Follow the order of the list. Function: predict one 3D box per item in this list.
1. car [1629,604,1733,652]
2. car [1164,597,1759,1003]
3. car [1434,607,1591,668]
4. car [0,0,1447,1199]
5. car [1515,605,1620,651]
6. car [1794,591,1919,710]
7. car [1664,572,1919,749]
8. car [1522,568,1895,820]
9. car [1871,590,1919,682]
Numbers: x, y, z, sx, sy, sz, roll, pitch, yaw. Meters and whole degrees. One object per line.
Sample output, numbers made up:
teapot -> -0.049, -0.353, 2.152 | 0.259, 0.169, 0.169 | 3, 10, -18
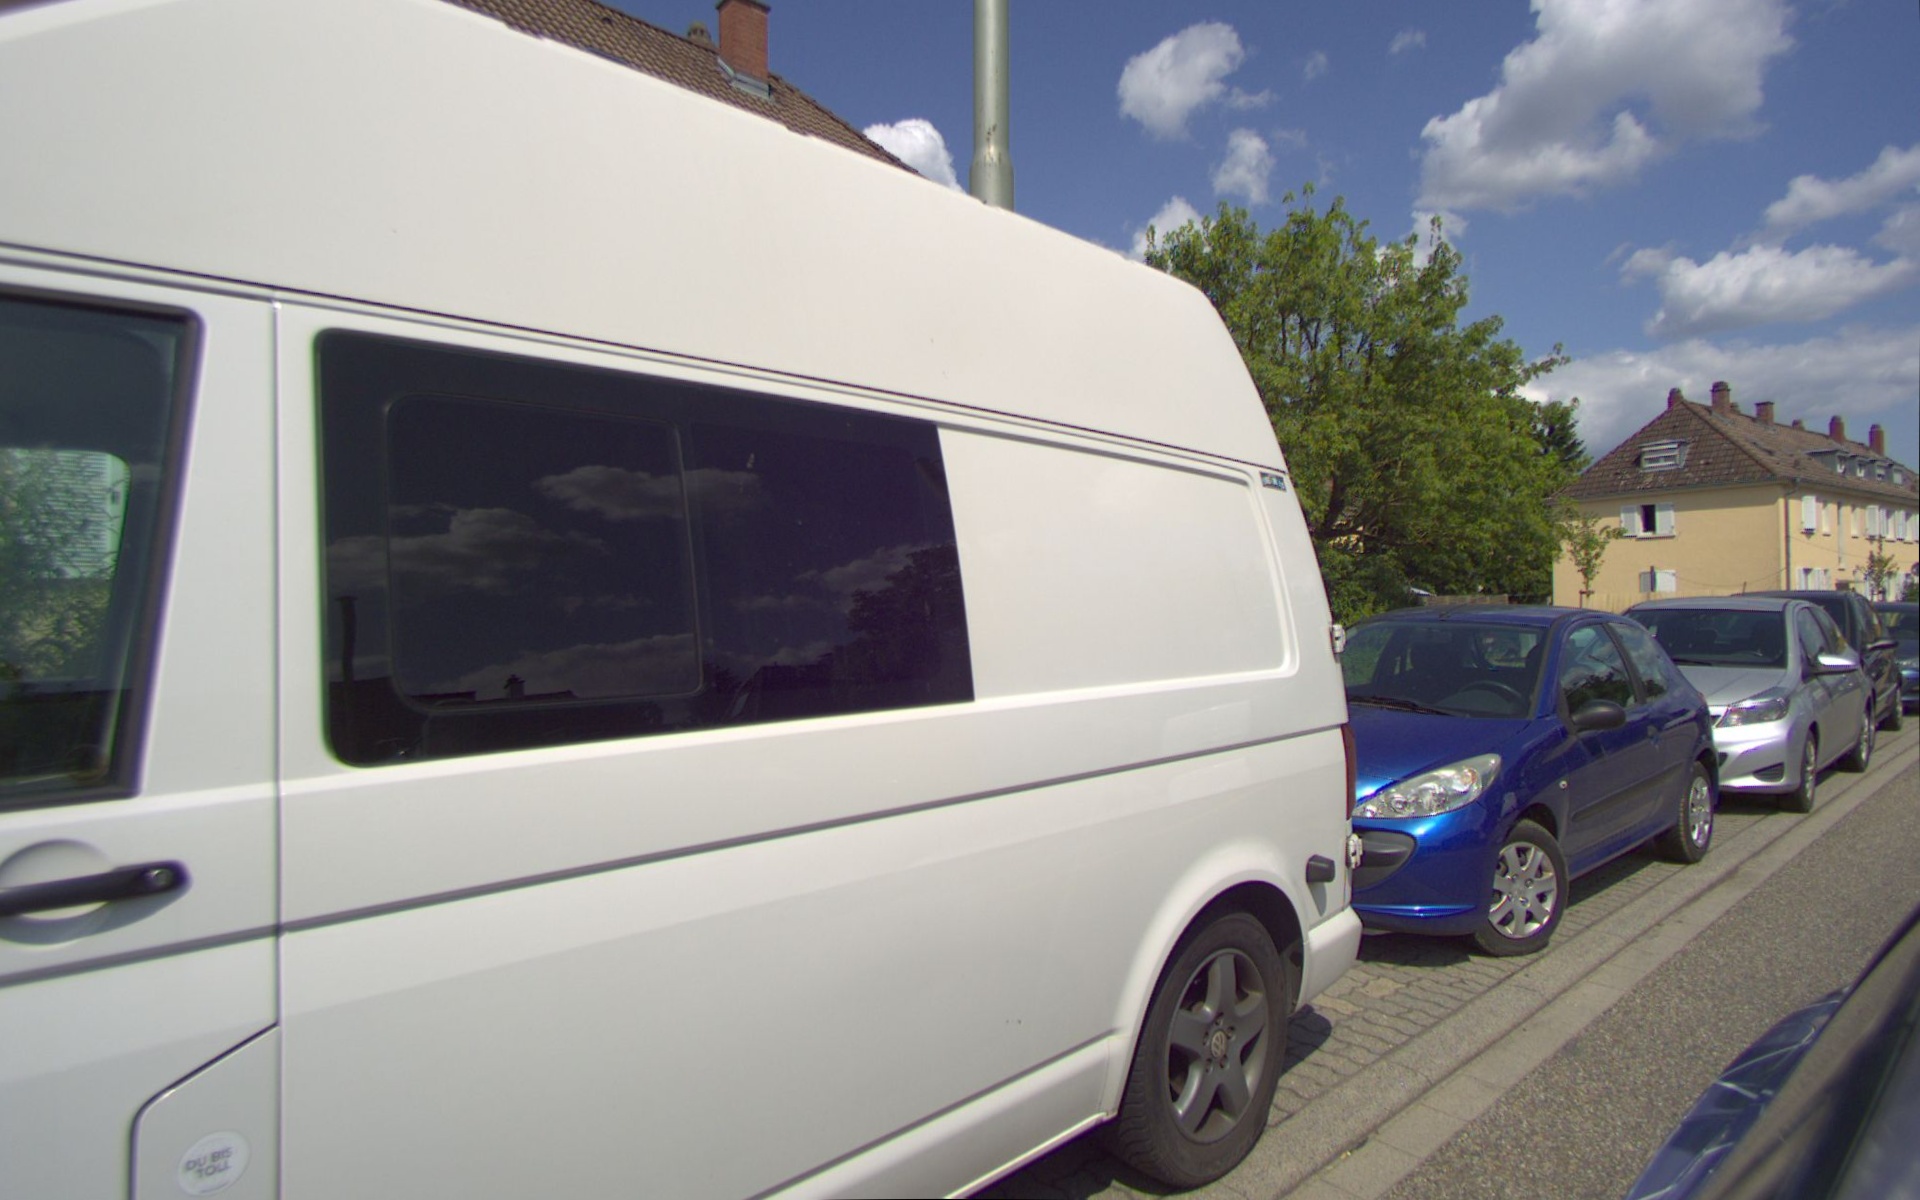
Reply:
car -> 22.213, 0.814, 31.129 | 4.014, 1.391, 1.639 | 0, 0, -39
car -> 2.868, 0.731, 5.444 | 3.671, 1.464, 1.539 | 0, -1, -40
car -> 13.696, 0.867, 25.033 | 4.007, 1.372, 1.642 | 0, 0, -32
car -> -1.154, 0.177, 2.043 | 5.422, 2.512, 1.932 | 0, 0, -42
car -> 19.540, 0.850, 32.500 | 4.014, 1.391, 1.639 | 0, 0, -39
car -> 13.352, 0.640, 14.357 | 4.051, 1.501, 1.639 | 0, -1, -40
car -> 9.320, 0.566, 11.243 | 3.864, 1.623, 1.638 | 0, -1, -42
car -> 6.365, 0.616, 8.446 | 3.958, 1.623, 1.639 | 0, -1, -40
car -> 17.514, 0.628, 17.730 | 3.859, 1.501, 1.641 | 1, 2, -38
